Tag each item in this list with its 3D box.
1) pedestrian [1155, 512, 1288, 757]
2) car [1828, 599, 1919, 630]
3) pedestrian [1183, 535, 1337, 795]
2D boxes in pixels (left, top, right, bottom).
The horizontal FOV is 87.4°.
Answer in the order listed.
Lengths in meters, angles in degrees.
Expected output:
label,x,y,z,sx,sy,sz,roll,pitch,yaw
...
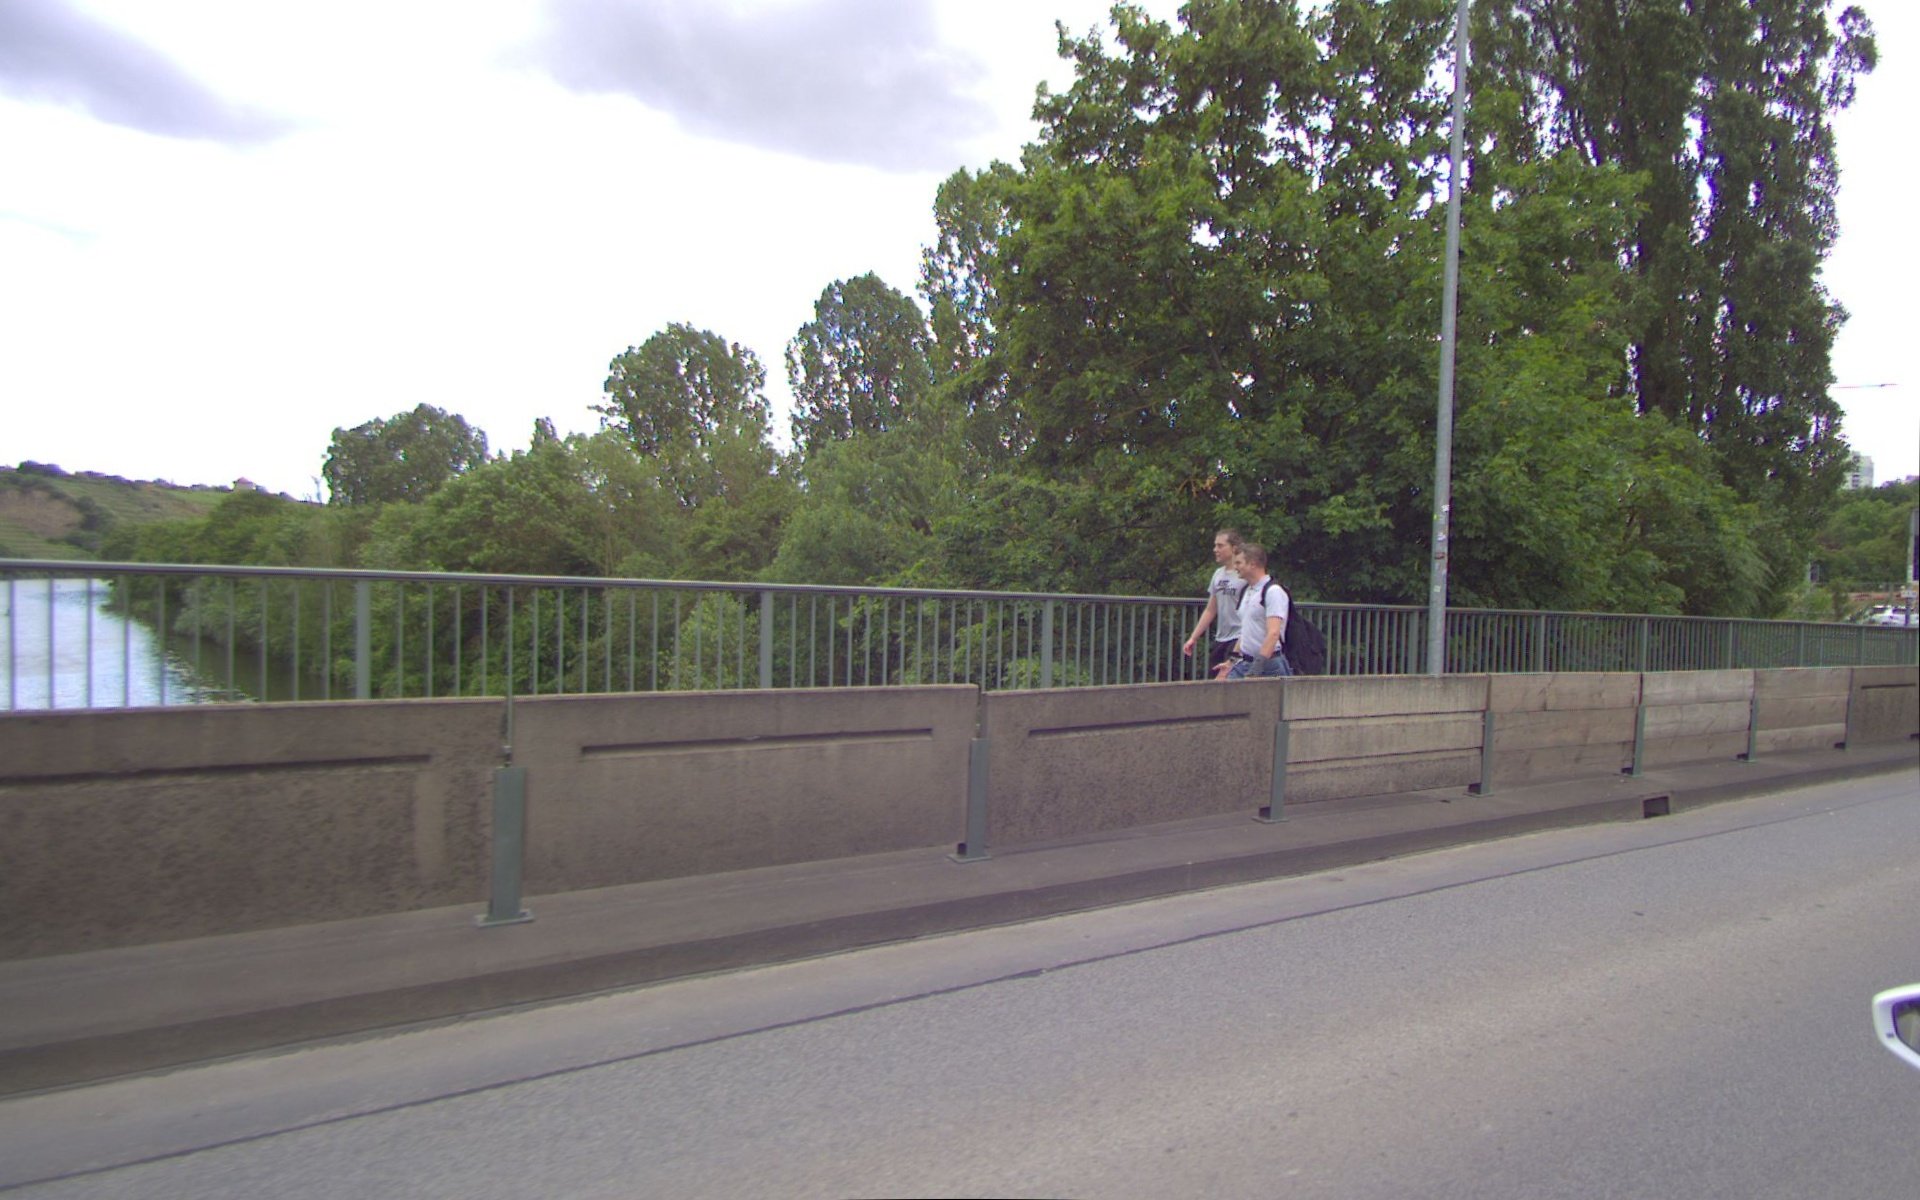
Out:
label,x,y,z,sx,sy,sz,roll,pitch,yaw
pedestrian,2.105,0.256,8.125,0.714,1.864,0.717,0,2,-31
car,51.137,0.767,56.225,1.651,1.628,4.311,1,1,6
pedestrian,2.119,0.426,7.129,0.714,1.724,0.717,0,2,-31
